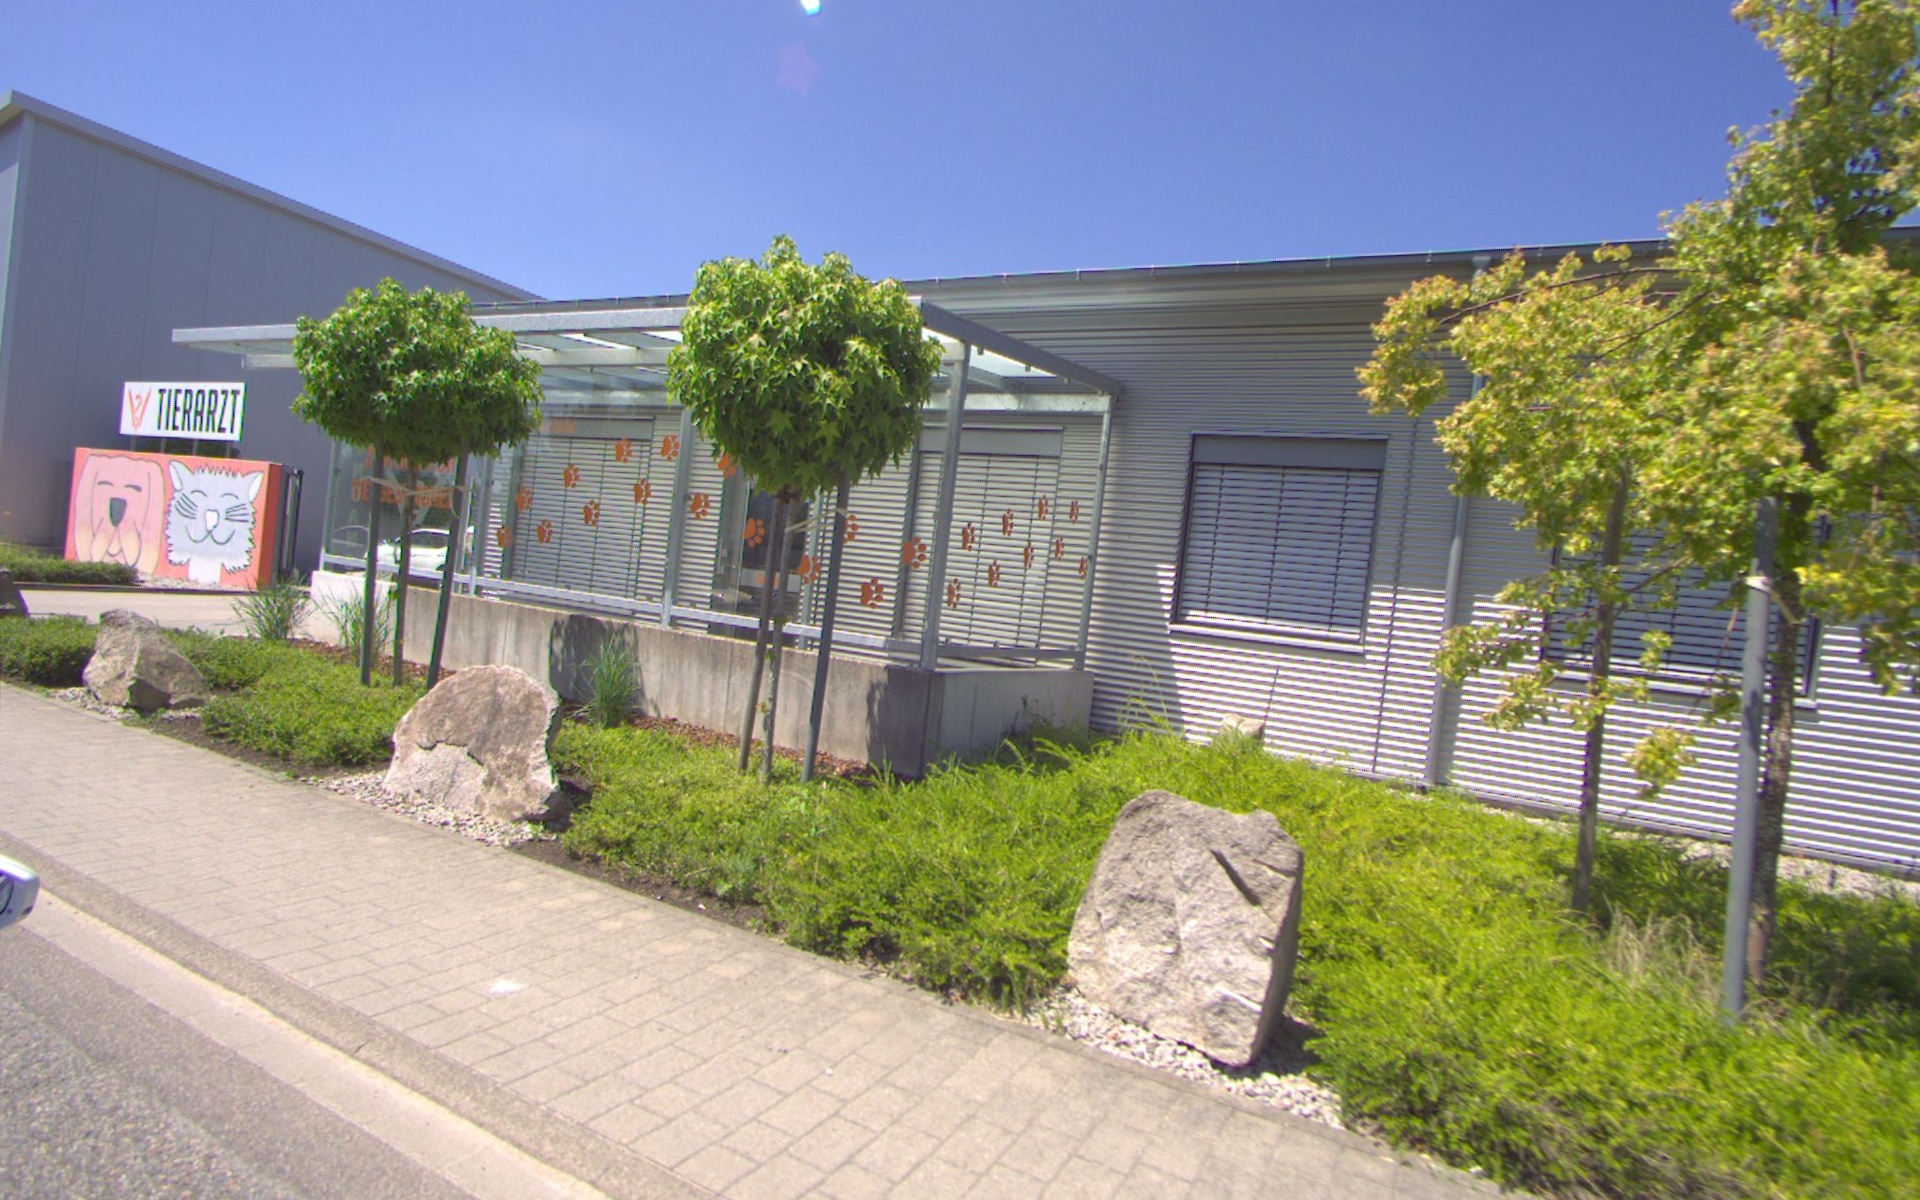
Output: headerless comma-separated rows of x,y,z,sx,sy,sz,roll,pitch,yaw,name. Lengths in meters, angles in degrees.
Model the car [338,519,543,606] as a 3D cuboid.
-12.333,-0.878,23.893,4.273,1.561,1.999,6,-1,24,car
